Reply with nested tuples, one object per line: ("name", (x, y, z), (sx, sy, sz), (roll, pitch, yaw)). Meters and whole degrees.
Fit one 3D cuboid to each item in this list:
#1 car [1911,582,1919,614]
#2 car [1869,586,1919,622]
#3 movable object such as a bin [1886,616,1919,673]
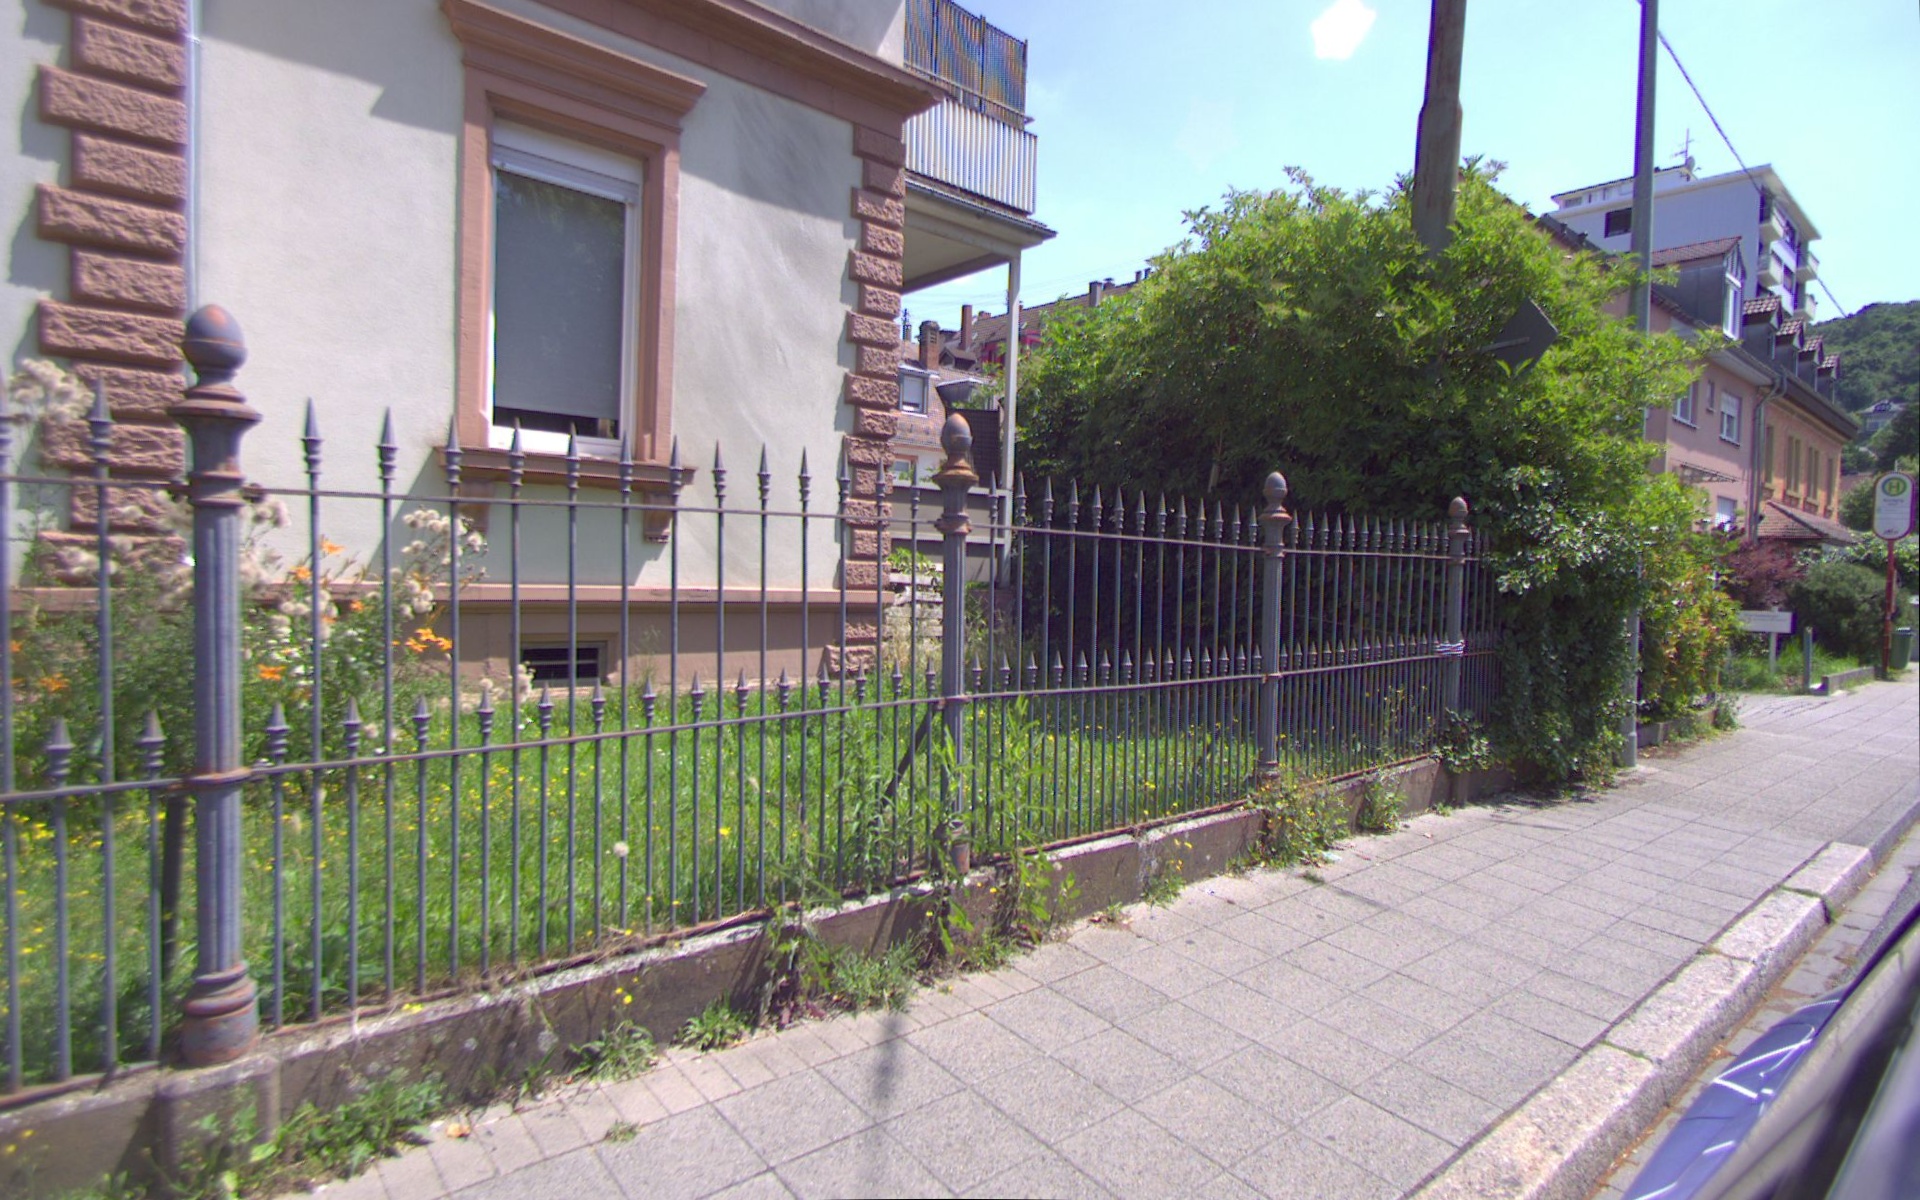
("car", (55.531, -0.090, 55.944), (1.788, 1.812, 4.292), (-1, 1, -1))
("car", (44.446, 0.191, 46.421), (3.868, 1.562, 1.818), (3, 3, 37))
("movable object such as a bin", (16.507, 0.765, 17.652), (0.717, 0.917, 0.407), (-2, 6, -44))
